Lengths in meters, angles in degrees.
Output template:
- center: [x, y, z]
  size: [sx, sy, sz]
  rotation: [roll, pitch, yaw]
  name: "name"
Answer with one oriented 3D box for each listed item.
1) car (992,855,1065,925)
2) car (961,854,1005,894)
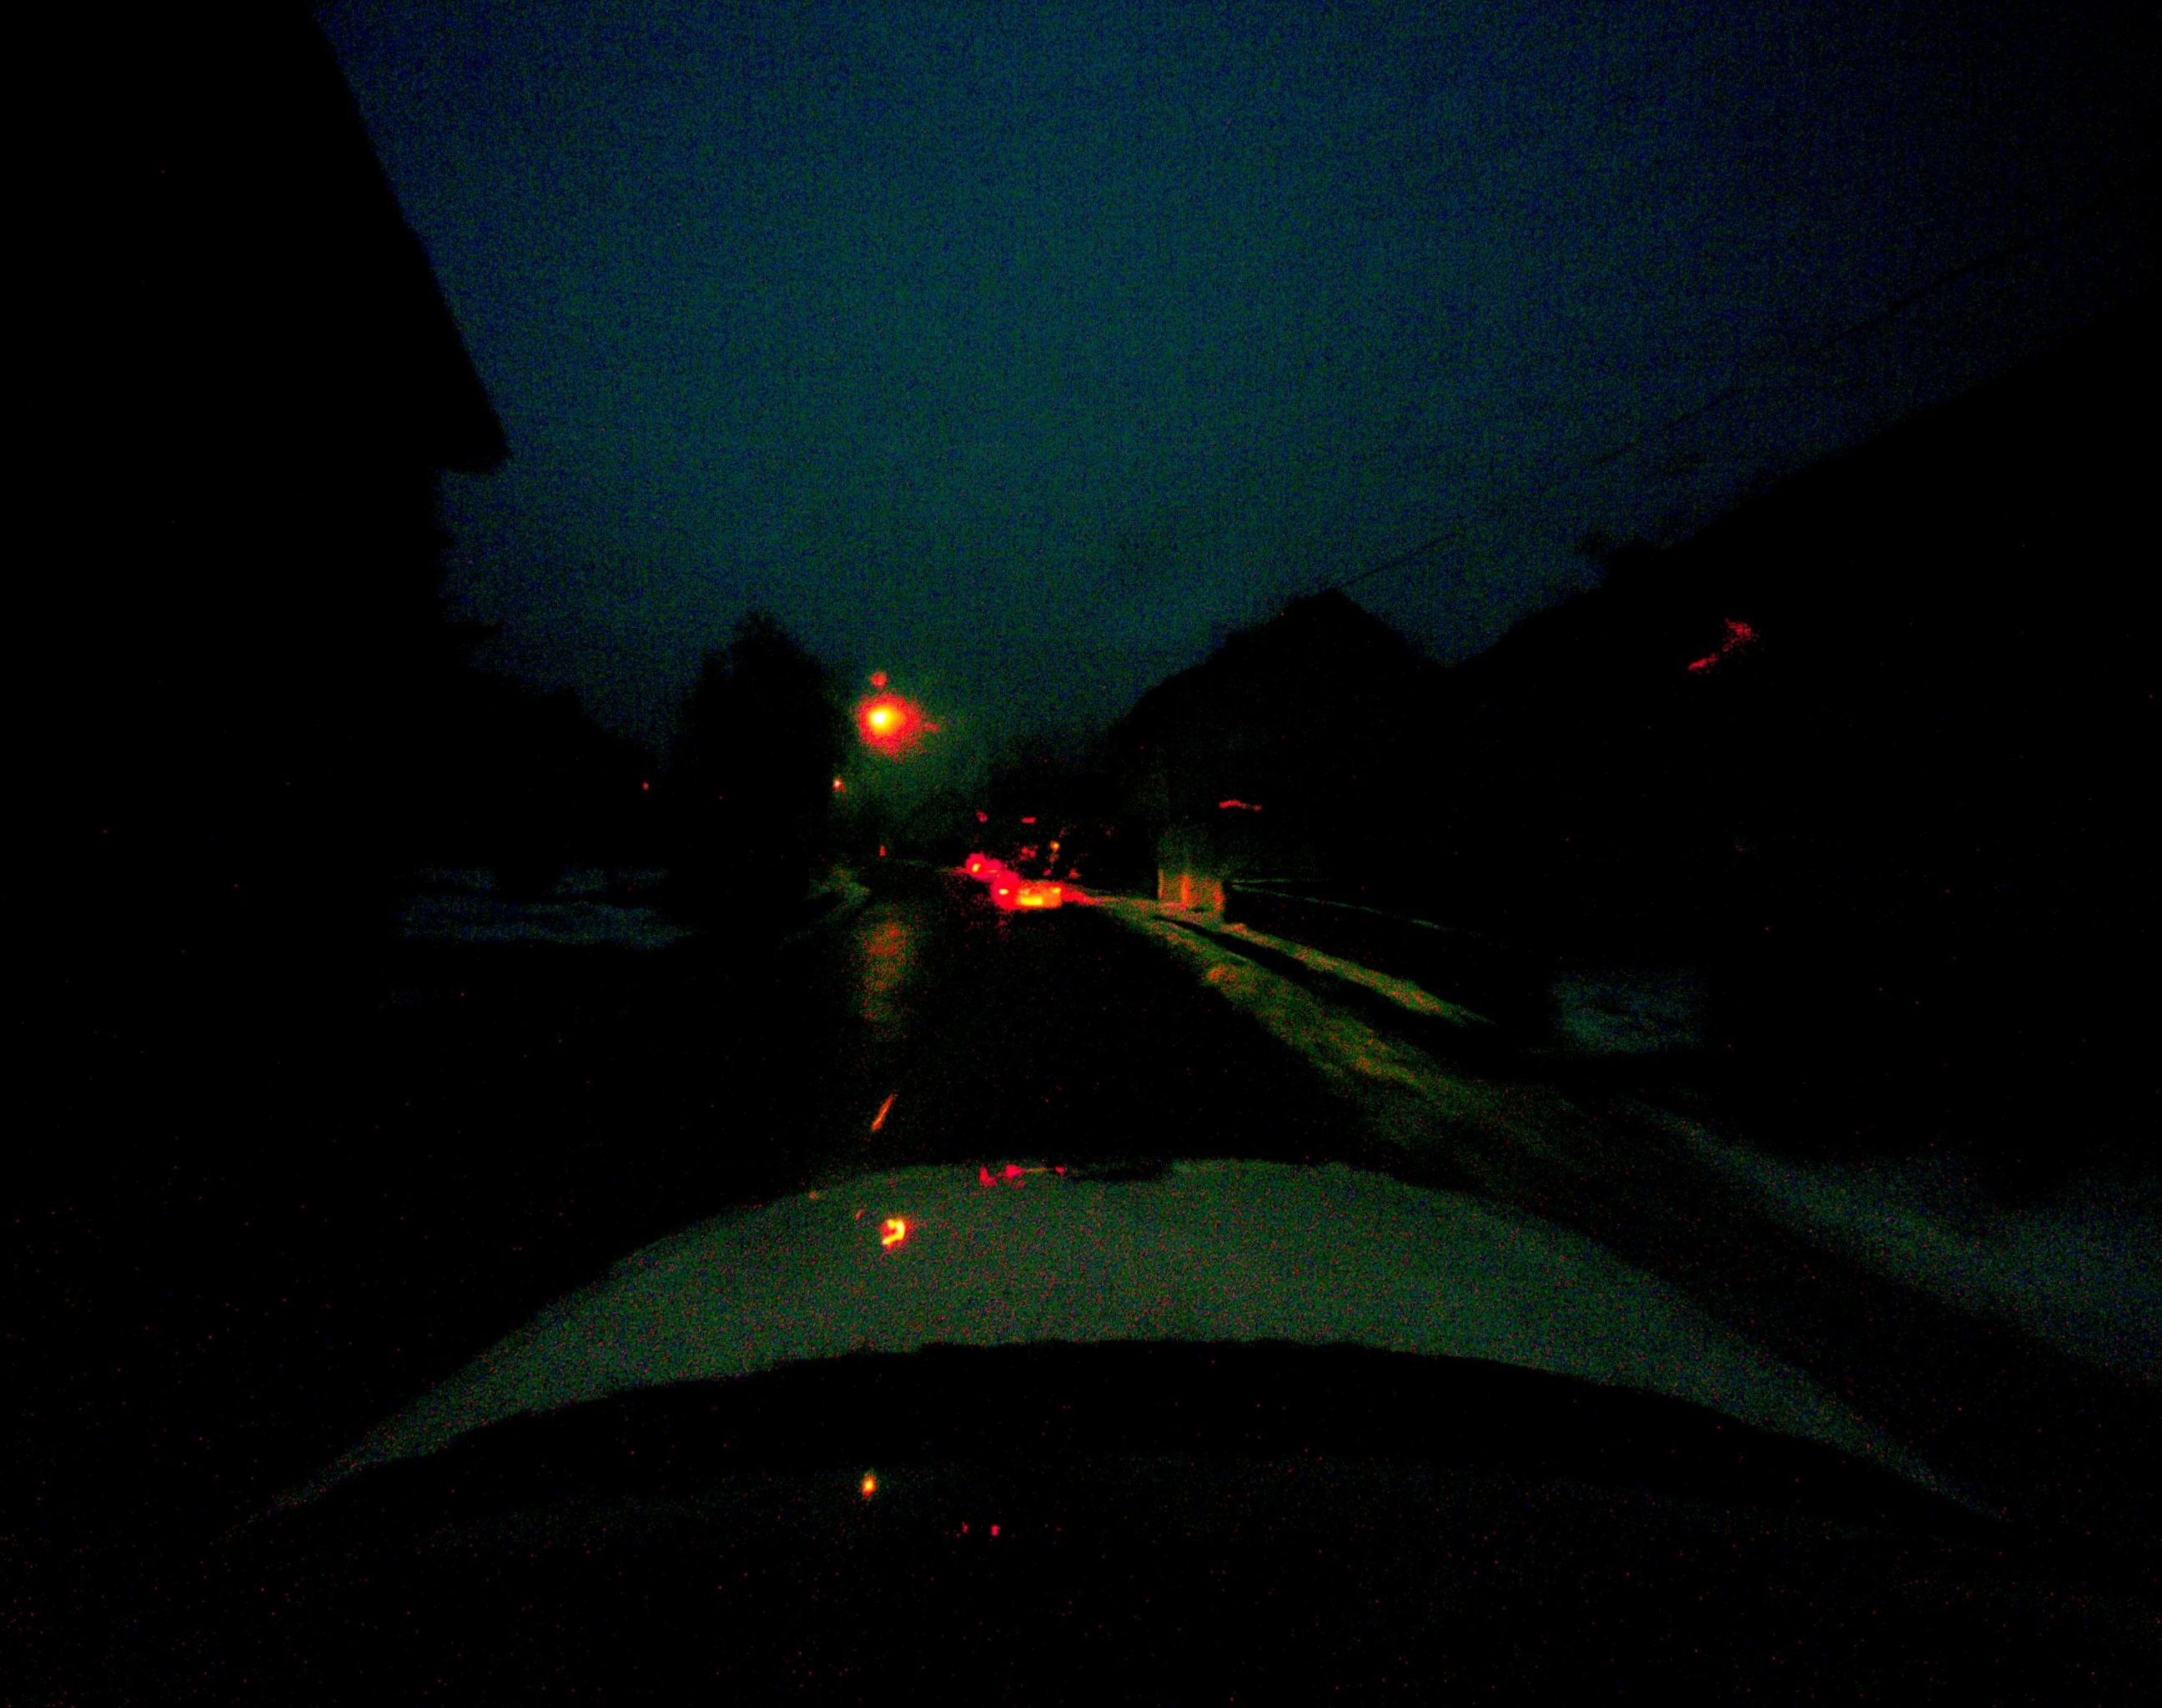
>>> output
- center: [-1.428, 0.908, 21.027]
  size: [1.643, 1.596, 3.690]
  rotation: [2, -2, -7]
  name: "car"
- center: [-4.219, 0.855, 34.624]
  size: [1.645, 1.596, 3.686]
  rotation: [2, -2, -10]
  name: "car"
